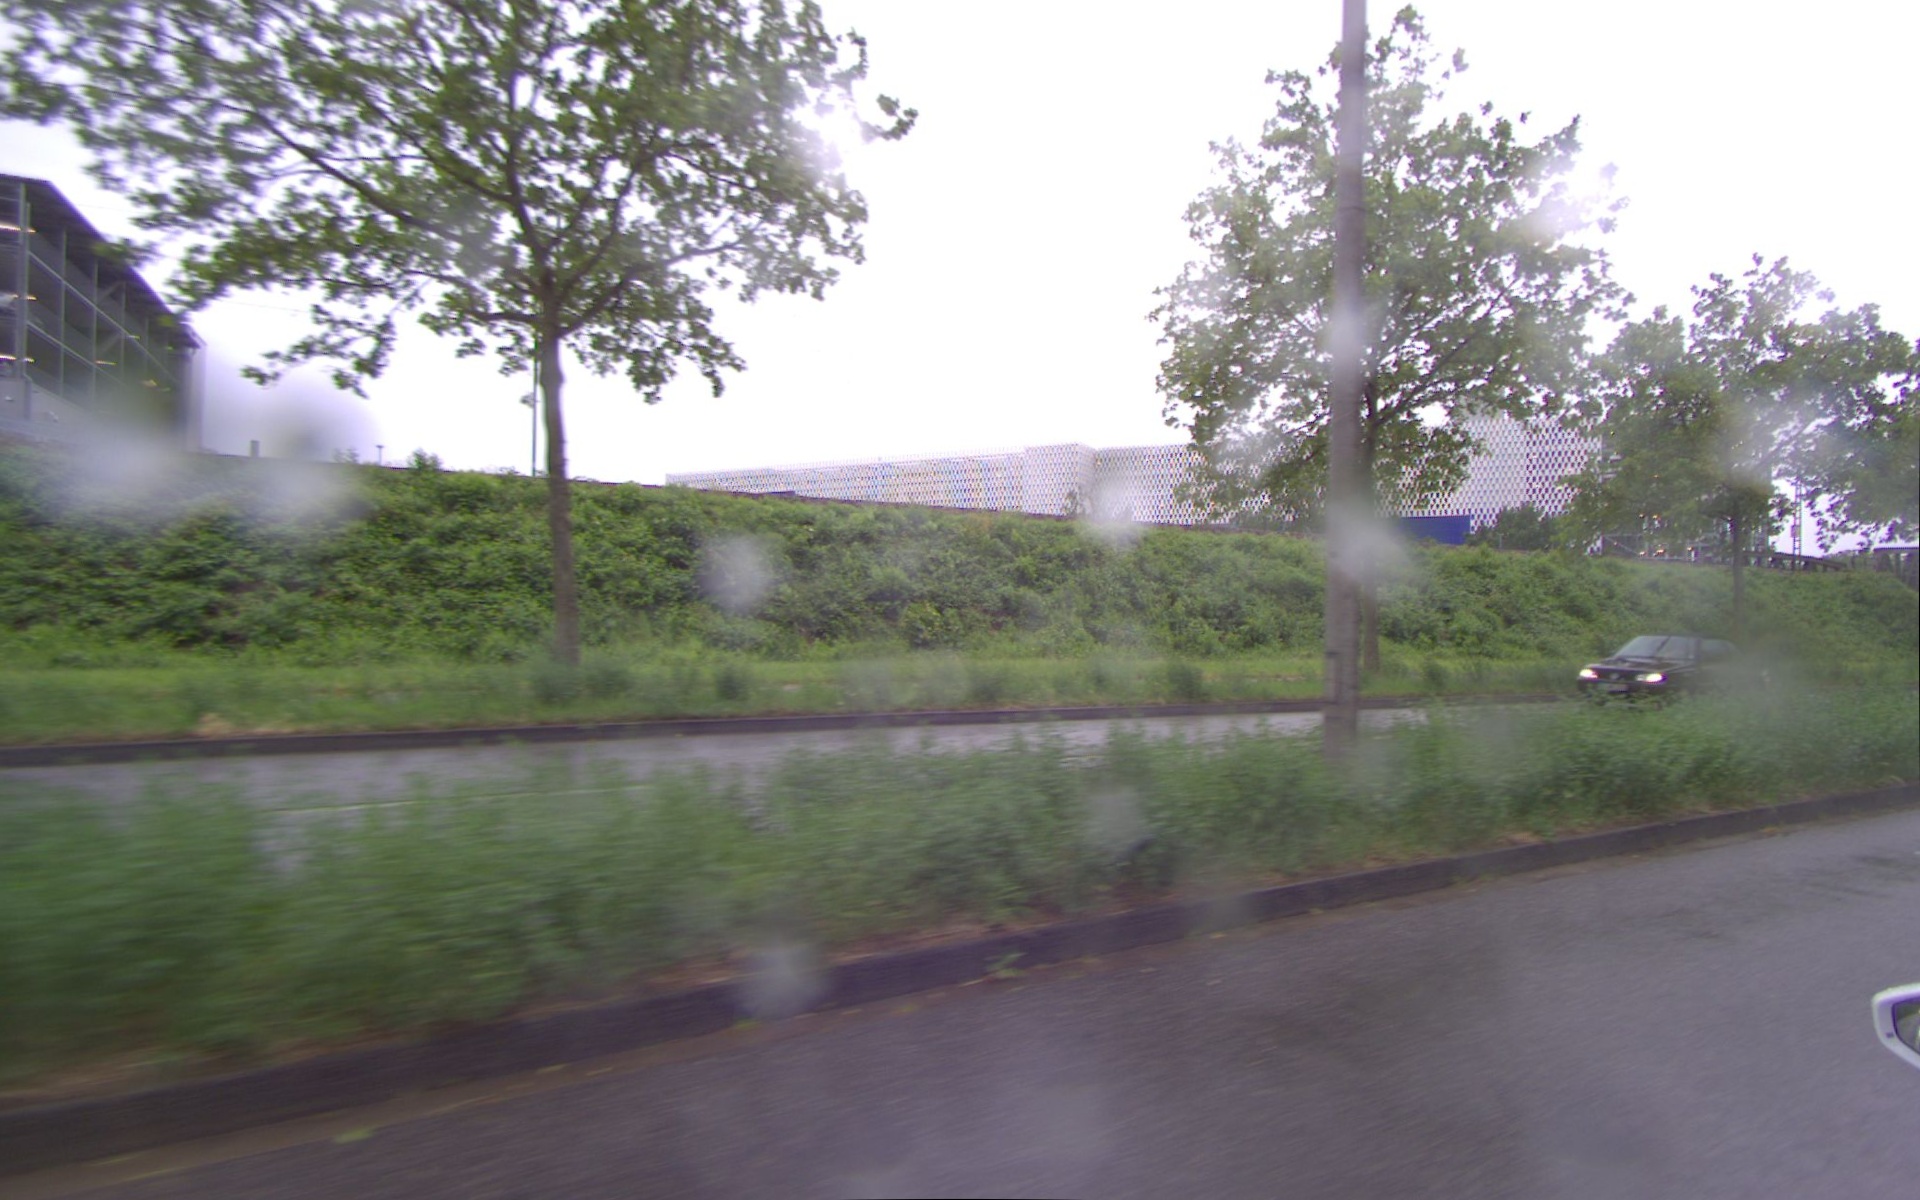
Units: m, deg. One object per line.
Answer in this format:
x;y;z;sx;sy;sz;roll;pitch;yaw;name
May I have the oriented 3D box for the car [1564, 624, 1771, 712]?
13.180;1.206;18.671;3.952;1.445;1.624;1;0;-30;car
